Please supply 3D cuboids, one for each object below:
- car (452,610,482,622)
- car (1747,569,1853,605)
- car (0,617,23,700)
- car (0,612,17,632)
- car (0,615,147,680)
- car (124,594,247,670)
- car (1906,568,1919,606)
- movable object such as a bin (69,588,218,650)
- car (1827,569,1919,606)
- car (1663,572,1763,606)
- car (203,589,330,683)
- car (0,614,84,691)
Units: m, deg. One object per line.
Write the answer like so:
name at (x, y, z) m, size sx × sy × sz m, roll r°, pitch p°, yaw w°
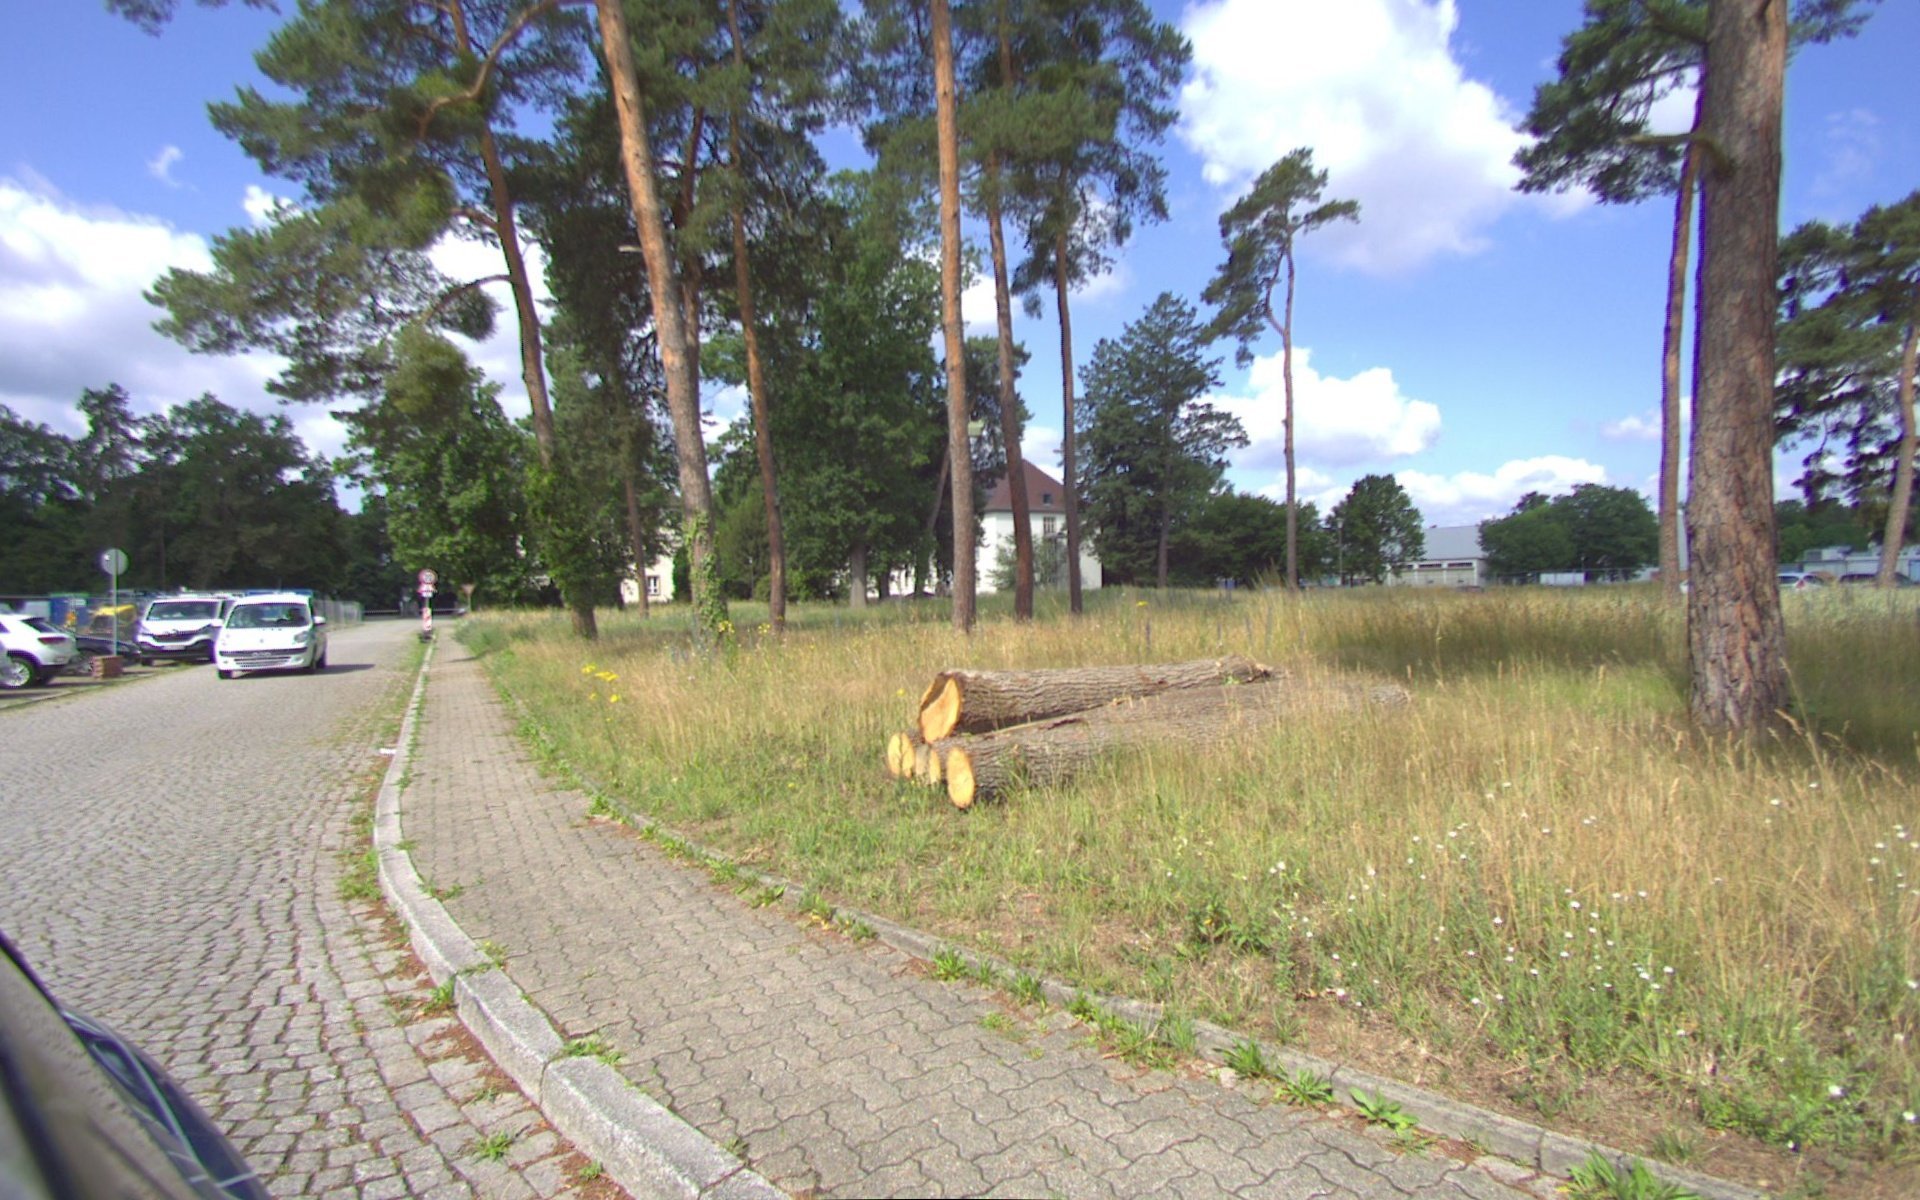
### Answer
car at (-73.111, 2.319, 150.100) m, size 4.016 × 1.655 × 1.773 m, roll -1°, pitch 0°, yaw -28°
car at (33.696, -0.519, 40.591) m, size 4.009 × 1.349 × 1.907 m, roll -1°, pitch 0°, yaw -28°
car at (-19.155, 1.043, 17.534) m, size 3.986 × 1.475 × 1.709 m, roll 0°, pitch -1°, yaw -30°
car at (-85.535, 1.951, 89.695) m, size 1.772 × 1.696 × 4.053 m, roll -1°, pitch 0°, yaw -26°
car at (-22.503, 1.115, 24.340) m, size 4.392 × 1.486 × 1.751 m, roll 0°, pitch -1°, yaw -31°
car at (-23.406, 0.885, 30.832) m, size 1.887 × 2.069 × 5.697 m, roll -1°, pitch 0°, yaw -26°
car at (35.355, -0.495, 35.570) m, size 4.009 × 1.319 × 1.907 m, roll -1°, pitch 0°, yaw -28°
movable object such as a bin at (-36.381, 0.847, 45.355) m, size 2.120 × 2.541 × 5.654 m, roll -1°, pitch -1°, yaw 1°
car at (34.524, -0.468, 37.832) m, size 4.009 × 1.330 × 1.907 m, roll -1°, pitch 0°, yaw -28°
car at (32.269, -0.467, 43.356) m, size 4.001 × 1.359 × 1.907 m, roll -1°, pitch 0°, yaw -28°
car at (-15.815, 0.771, 23.318) m, size 1.809 × 1.883 × 4.846 m, roll -1°, pitch 0°, yaw -28°
car at (-20.362, 1.045, 20.300) m, size 3.931 × 1.518 × 1.752 m, roll 0°, pitch -1°, yaw -30°
